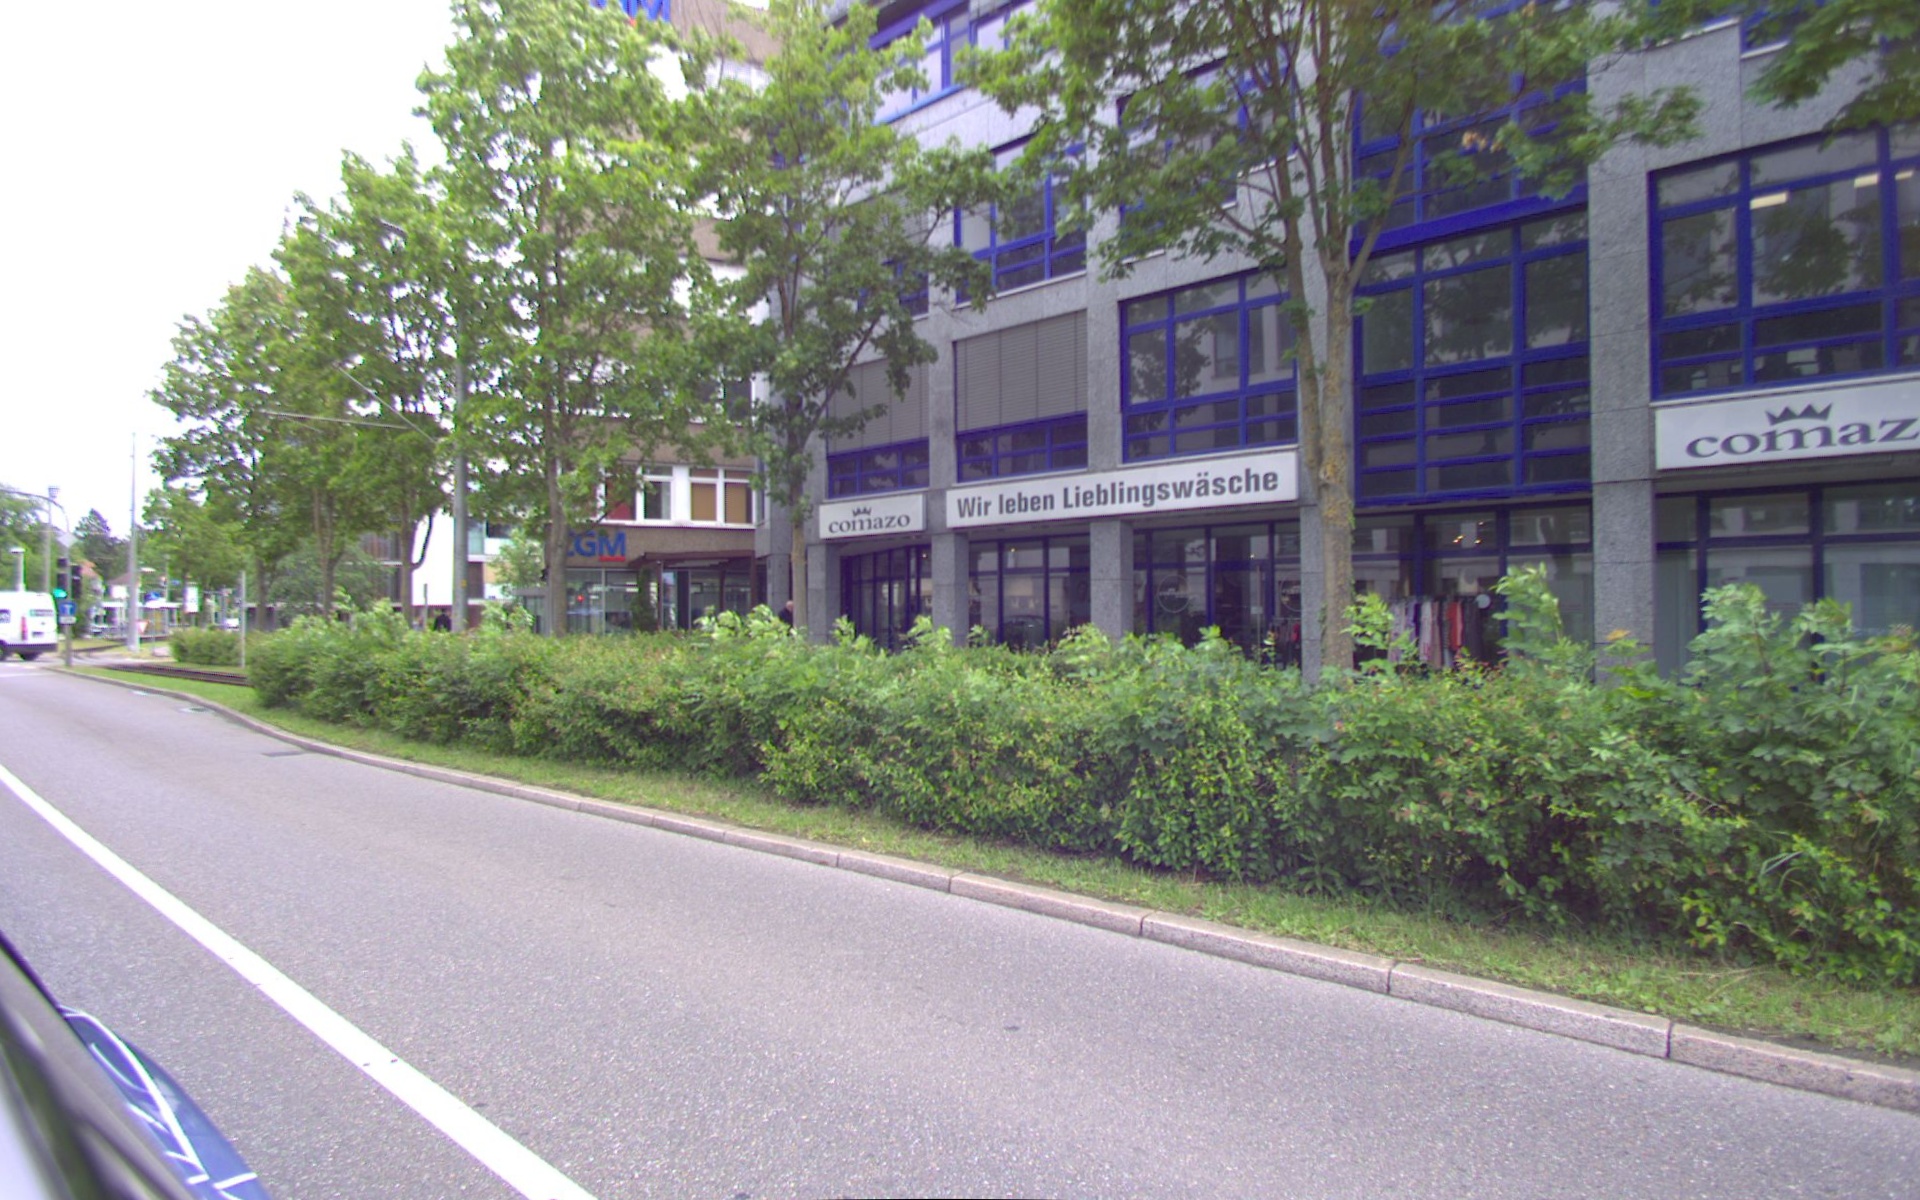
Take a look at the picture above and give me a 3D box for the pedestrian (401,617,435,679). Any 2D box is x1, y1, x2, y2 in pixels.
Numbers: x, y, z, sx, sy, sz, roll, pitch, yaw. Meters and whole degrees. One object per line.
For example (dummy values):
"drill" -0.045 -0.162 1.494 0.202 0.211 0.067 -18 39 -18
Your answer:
"pedestrian" -16.403 1.437 30.639 0.730 1.819 0.672 -1 0 37

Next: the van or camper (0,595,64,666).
"van or camper" -40.093 1.225 40.617 6.054 2.754 2.118 0 0 -8

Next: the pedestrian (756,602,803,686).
"pedestrian" -4.166 0.999 23.373 0.731 1.908 0.766 -1 0 40

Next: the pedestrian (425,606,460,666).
"pedestrian" -16.862 1.158 32.978 0.731 1.938 0.805 -1 0 40
